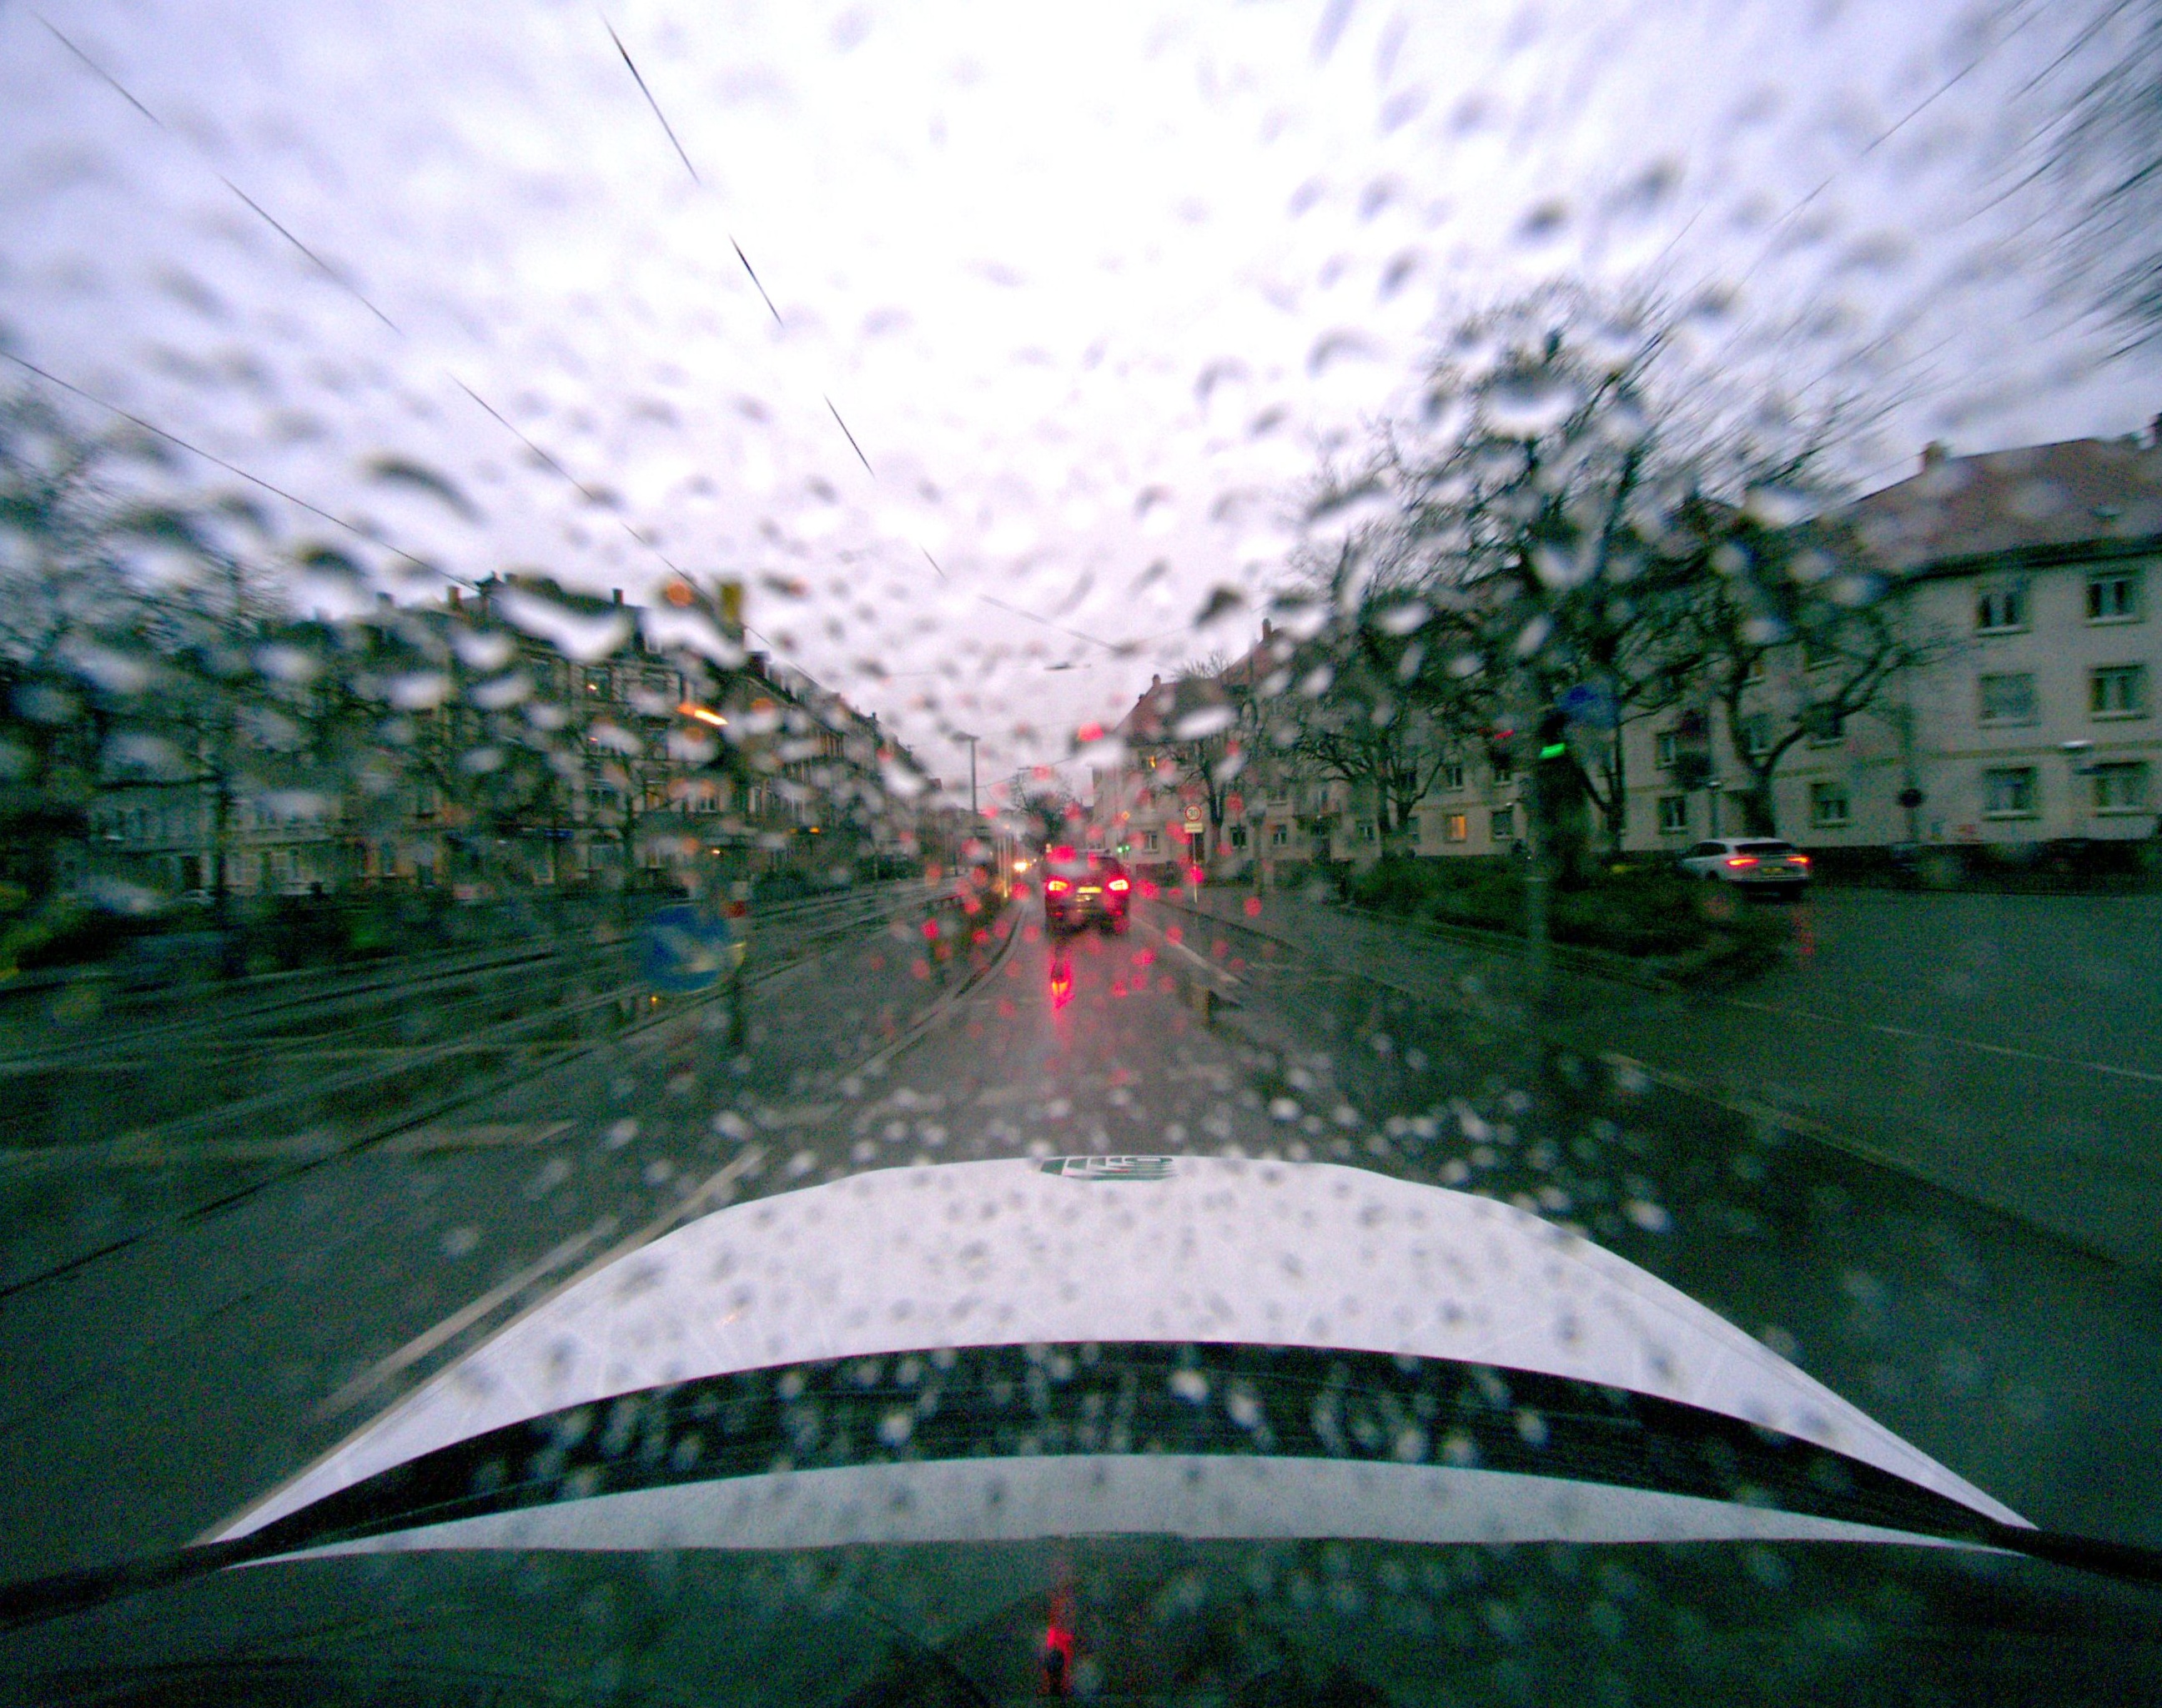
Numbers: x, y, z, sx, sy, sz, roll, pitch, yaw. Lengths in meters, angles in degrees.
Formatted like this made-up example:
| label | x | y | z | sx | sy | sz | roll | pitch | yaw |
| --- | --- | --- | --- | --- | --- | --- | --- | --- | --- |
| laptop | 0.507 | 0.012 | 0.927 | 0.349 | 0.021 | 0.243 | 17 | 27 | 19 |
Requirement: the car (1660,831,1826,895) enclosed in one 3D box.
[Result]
| label | x | y | z | sx | sy | sz | roll | pitch | yaw |
| --- | --- | --- | --- | --- | --- | --- | --- | --- | --- |
| car | 17.878 | 0.289 | 22.314 | 1.878 | 1.510 | 4.775 | -2 | -2 | 18 |

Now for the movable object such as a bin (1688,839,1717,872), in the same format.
| label | x | y | z | sx | sy | sz | roll | pitch | yaw |
| --- | --- | --- | --- | --- | --- | --- | --- | --- | --- |
| movable object such as a bin | 23.826 | 0.067 | 31.222 | 0.528 | 1.228 | 0.647 | -2 | -1 | -15 |

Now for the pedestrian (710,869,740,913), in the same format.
| label | x | y | z | sx | sy | sz | roll | pitch | yaw |
| --- | --- | --- | --- | --- | --- | --- | --- | --- | --- |
| pedestrian | -11.487 | 1.185 | 26.262 | 0.682 | 1.403 | 0.577 | 1 | -1 | -4 |

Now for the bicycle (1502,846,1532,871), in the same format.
| label | x | y | z | sx | sy | sz | roll | pitch | yaw |
| --- | --- | --- | --- | --- | --- | --- | --- | --- | --- |
| bicycle | 23.046 | 0.226 | 43.069 | 0.465 | 1.291 | 1.912 | -2 | -1 | -3 |

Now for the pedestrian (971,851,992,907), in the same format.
| label | x | y | z | sx | sy | sz | roll | pitch | yaw |
| --- | --- | --- | --- | --- | --- | --- | --- | --- | --- |
| pedestrian | -3.118 | 0.781 | 25.533 | 0.556 | 1.741 | 0.570 | 1 | -1 | -3 |

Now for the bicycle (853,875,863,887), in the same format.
| label | x | y | z | sx | sy | sz | roll | pitch | yaw |
| --- | --- | --- | --- | --- | --- | --- | --- | --- | --- |
| bicycle | -19.762 | 2.356 | 72.066 | 0.415 | 1.007 | 1.847 | -2 | -1 | -2 |

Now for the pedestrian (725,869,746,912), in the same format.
| label | x | y | z | sx | sy | sz | roll | pitch | yaw |
| --- | --- | --- | --- | --- | --- | --- | --- | --- | --- |
| pedestrian | -11.361 | 1.195 | 26.771 | 0.472 | 1.403 | 0.453 | 1 | -1 | -4 |

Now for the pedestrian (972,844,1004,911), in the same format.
| label | x | y | z | sx | sy | sz | roll | pitch | yaw |
| --- | --- | --- | --- | --- | --- | --- | --- | --- | --- |
| pedestrian | -2.755 | 0.701 | 24.125 | 0.851 | 1.956 | 0.570 | 1 | -1 | -3 |

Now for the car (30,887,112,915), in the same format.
| label | x | y | z | sx | sy | sz | roll | pitch | yaw |
| --- | --- | --- | --- | --- | --- | --- | --- | --- | --- |
| car | -67.701 | 3.153 | 54.585 | 3.957 | 1.706 | 2.008 | -2 | -1 | 15 |

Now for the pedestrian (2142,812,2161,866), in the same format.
| label | x | y | z | sx | sy | sz | roll | pitch | yaw |
| --- | --- | --- | --- | --- | --- | --- | --- | --- | --- |
| pedestrian | 33.248 | -0.481 | 24.646 | 1.111 | 1.642 | 0.763 | -2 | -1 | 12 |

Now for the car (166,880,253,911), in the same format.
| label | x | y | z | sx | sy | sz | roll | pitch | yaw |
| --- | --- | --- | --- | --- | --- | --- | --- | --- | --- |
| car | -53.636 | 2.574 | 50.130 | 3.956 | 1.706 | 2.009 | -2 | -1 | 16 |

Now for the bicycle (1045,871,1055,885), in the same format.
| label | x | y | z | sx | sy | sz | roll | pitch | yaw |
| --- | --- | --- | --- | --- | --- | --- | --- | --- | --- |
| bicycle | -2.407 | 1.846 | 62.785 | 0.729 | 1.007 | 1.762 | -1 | -1 | -2 |

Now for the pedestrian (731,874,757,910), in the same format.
| label | x | y | z | sx | sy | sz | roll | pitch | yaw |
| --- | --- | --- | --- | --- | --- | --- | --- | --- | --- |
| pedestrian | -11.742 | 1.317 | 28.384 | 0.651 | 1.218 | 0.516 | 1 | -1 | -4 |

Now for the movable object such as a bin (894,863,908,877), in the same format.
| label | x | y | z | sx | sy | sz | roll | pitch | yaw |
| --- | --- | --- | --- | --- | --- | --- | --- | --- | --- |
| movable object such as a bin | -20.409 | 1.769 | 92.533 | 1.239 | 1.586 | 1.308 | -1 | -1 | 2 |

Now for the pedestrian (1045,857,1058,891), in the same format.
| label | x | y | z | sx | sy | sz | roll | pitch | yaw |
| --- | --- | --- | --- | --- | --- | --- | --- | --- | --- |
| pedestrian | -1.682 | 1.165 | 46.598 | 0.713 | 1.917 | 0.688 | 1 | -1 | -1 |

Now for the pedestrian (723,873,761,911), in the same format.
| label | x | y | z | sx | sy | sz | roll | pitch | yaw |
| --- | --- | --- | --- | --- | --- | --- | --- | --- | --- |
| pedestrian | -11.586 | 1.292 | 27.858 | 1.053 | 1.254 | 0.506 | 1 | -1 | -4 |

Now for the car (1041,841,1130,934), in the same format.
| label | x | y | z | sx | sy | sz | roll | pitch | yaw |
| --- | --- | --- | --- | --- | --- | --- | --- | --- | --- |
| car | 0.047 | 0.719 | 18.817 | 1.797 | 1.871 | 4.015 | 1 | -1 | -1 |

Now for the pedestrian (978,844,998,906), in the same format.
| label | x | y | z | sx | sy | sz | roll | pitch | yaw |
| --- | --- | --- | --- | --- | --- | --- | --- | --- | --- |
| pedestrian | -3.027 | 0.688 | 26.655 | 0.556 | 1.987 | 0.570 | 1 | -1 | -3 |

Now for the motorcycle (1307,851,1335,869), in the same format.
| label | x | y | z | sx | sy | sz | roll | pitch | yaw |
| --- | --- | --- | --- | --- | --- | --- | --- | --- | --- |
| motorcycle | 15.324 | 0.410 | 52.051 | 0.573 | 1.105 | 1.584 | -4 | 1 | -39 |

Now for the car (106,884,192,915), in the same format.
| label | x | y | z | sx | sy | sz | roll | pitch | yaw |
| --- | --- | --- | --- | --- | --- | --- | --- | --- | --- |
| car | -59.055 | 2.869 | 51.617 | 3.957 | 1.706 | 2.008 | -2 | -1 | 15 |

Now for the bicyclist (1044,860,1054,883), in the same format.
| label | x | y | z | sx | sy | sz | roll | pitch | yaw |
| --- | --- | --- | --- | --- | --- | --- | --- | --- | --- |
| bicyclist | -2.433 | 1.338 | 62.915 | 0.728 | 1.737 | 0.765 | -1 | -1 | -2 |

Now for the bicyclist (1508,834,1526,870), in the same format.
| label | x | y | z | sx | sy | sz | roll | pitch | yaw |
| --- | --- | --- | --- | --- | --- | --- | --- | --- | --- |
| bicyclist | 23.048 | -0.109 | 43.047 | 0.465 | 1.886 | 0.678 | -2 | -1 | -3 |

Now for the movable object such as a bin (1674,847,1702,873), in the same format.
| label | x | y | z | sx | sy | sz | roll | pitch | yaw |
| --- | --- | --- | --- | --- | --- | --- | --- | --- | --- |
| movable object such as a bin | 23.814 | 0.227 | 31.946 | 0.528 | 0.980 | 0.647 | -2 | -1 | -15 |

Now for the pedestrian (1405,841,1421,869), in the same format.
| label | x | y | z | sx | sy | sz | roll | pitch | yaw |
| --- | --- | --- | --- | --- | --- | --- | --- | --- | --- |
| pedestrian | 19.928 | 0.067 | 48.878 | 0.705 | 1.660 | 0.692 | -2 | -1 | 30 |

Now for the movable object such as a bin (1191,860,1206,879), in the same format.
| label | x | y | z | sx | sy | sz | roll | pitch | yaw |
| --- | --- | --- | --- | --- | --- | --- | --- | --- | --- |
| movable object such as a bin | 7.952 | 1.048 | 54.957 | 0.843 | 1.252 | 0.525 | 0 | -1 | 39 |

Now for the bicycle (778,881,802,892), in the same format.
| label | x | y | z | sx | sy | sz | roll | pitch | yaw |
| --- | --- | --- | --- | --- | --- | --- | --- | --- | --- |
| bicycle | -21.832 | 2.434 | 61.106 | 0.395 | 0.759 | 1.822 | -3 | -1 | 33 |
